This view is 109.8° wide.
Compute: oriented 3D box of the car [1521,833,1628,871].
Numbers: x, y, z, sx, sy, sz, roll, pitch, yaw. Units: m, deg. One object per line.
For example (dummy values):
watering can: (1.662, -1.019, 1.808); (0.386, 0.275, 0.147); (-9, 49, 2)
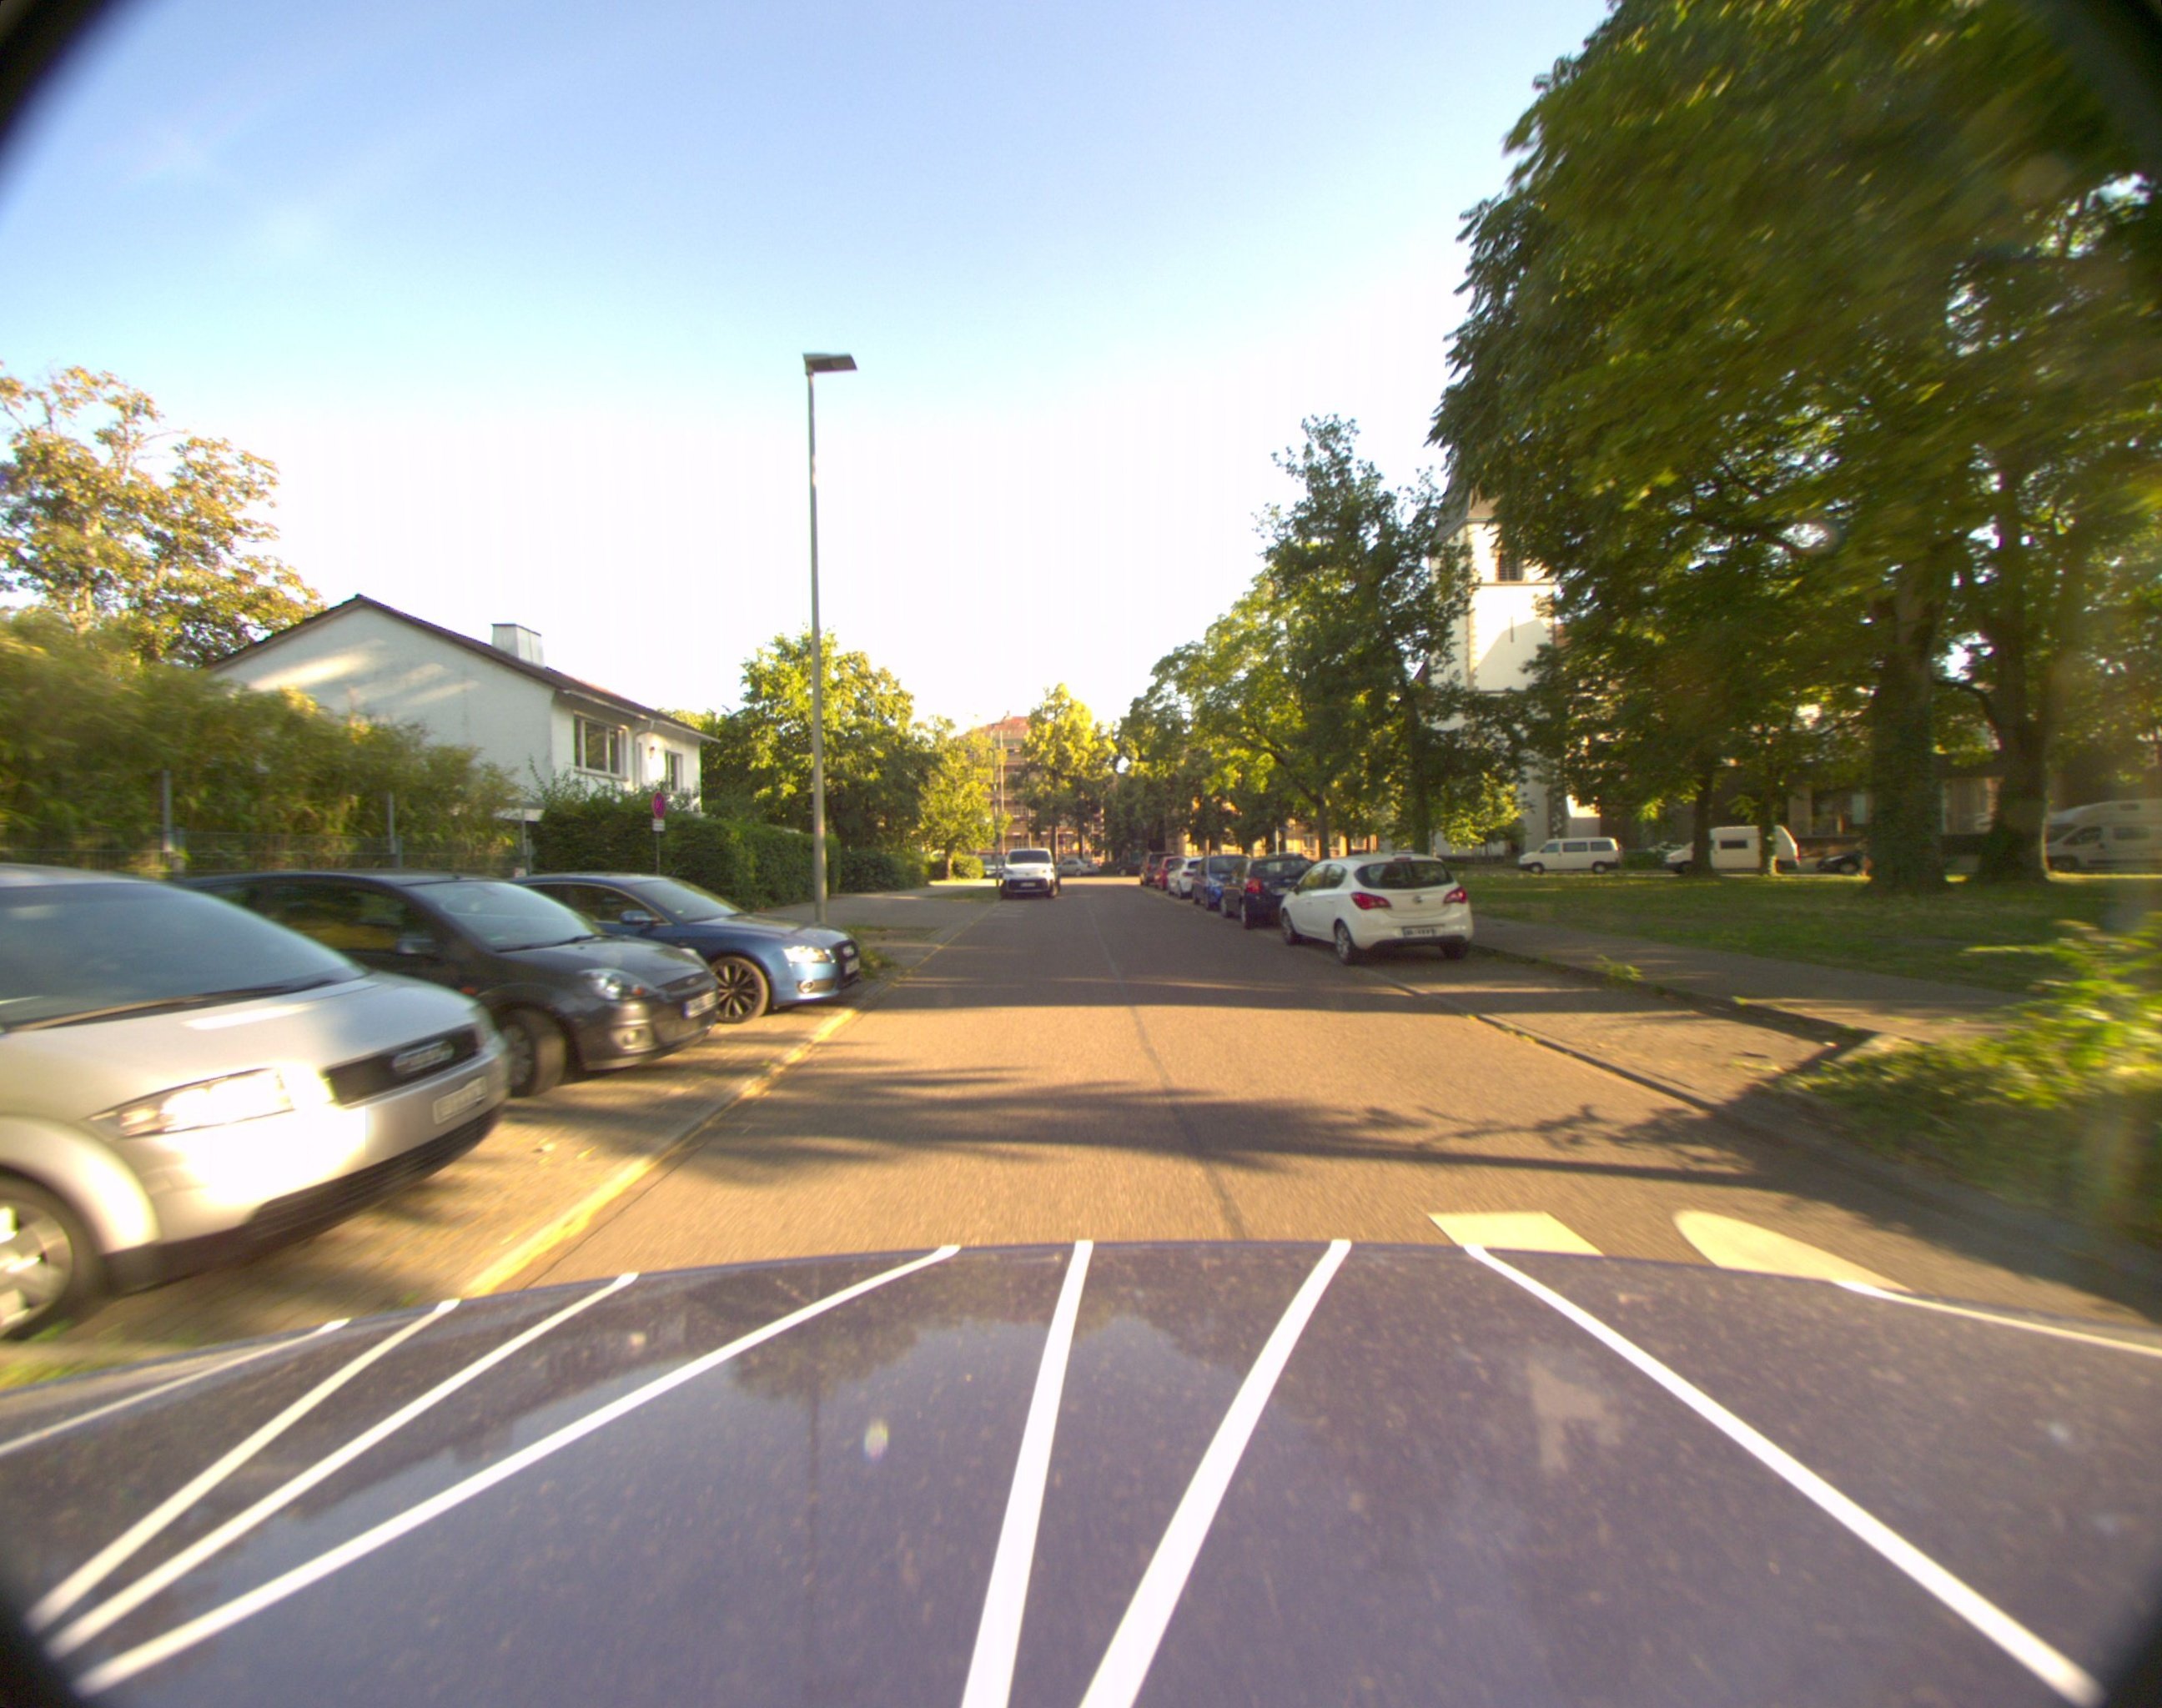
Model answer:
car: (27.034, -0.105, 41.712); (4.827, 1.935, 1.861); (-1, 0, 34)

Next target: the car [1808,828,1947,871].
car: (37.165, -0.185, 35.605); (4.133, 1.875, 1.860); (-1, 0, 29)

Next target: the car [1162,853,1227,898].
car: (4.023, 0.710, 27.431); (1.694, 1.398, 3.974); (-3, 0, 0)

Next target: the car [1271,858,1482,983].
car: (4.249, 0.859, 11.617); (1.596, 1.517, 3.864); (-1, 0, -2)

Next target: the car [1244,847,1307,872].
car: (13.071, 0.371, 51.048); (3.686, 1.570, 1.713); (-1, 0, 34)

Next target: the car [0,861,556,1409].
car: (-4.478, 0.863, 2.996); (3.503, 1.575, 1.761); (-1, 0, -4)

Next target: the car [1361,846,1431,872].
car: (19.387, 0.298, 46.804); (3.686, 1.492, 1.624); (-1, 0, 34)

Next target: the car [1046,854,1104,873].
car: (-0.511, 0.784, 60.840); (4.485, 1.407, 1.789); (-1, -2, 39)

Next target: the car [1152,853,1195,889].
car: (3.985, 0.708, 33.277); (1.391, 1.415, 3.426); (-3, 0, 0)

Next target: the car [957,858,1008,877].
car: (-7.864, 1.072, 60.478); (1.774, 1.459, 4.852); (-2, 0, -37)

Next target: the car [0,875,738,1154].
car: (-4.756, 0.982, 5.520); (3.692, 1.515, 1.791); (-1, 0, -5)

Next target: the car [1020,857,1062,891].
car: (-1.854, 0.886, 35.751); (1.770, 1.459, 4.864); (-1, 0, -2)

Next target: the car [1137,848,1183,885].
car: (3.915, 0.601, 38.369); (1.806, 1.666, 4.320); (-3, 0, 0)

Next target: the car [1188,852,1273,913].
car: (4.164, 0.739, 21.678); (1.642, 1.487, 3.705); (-3, 0, 0)

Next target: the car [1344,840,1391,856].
car: (30.185, -0.617, 80.065); (4.218, 1.646, 1.891); (-1, 0, -2)

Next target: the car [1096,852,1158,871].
car: (3.513, 0.621, 58.148); (4.482, 1.407, 1.835); (-1, -2, 36)

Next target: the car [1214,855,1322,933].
car: (4.010, 0.787, 16.882); (1.555, 1.486, 3.943); (-1, 0, 2)

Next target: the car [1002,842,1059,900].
car: (-1.900, 0.603, 29.675); (1.958, 2.002, 5.152); (-1, 0, -2)

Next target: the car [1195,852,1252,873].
car: (10.022, 0.617, 53.476); (3.596, 1.431, 1.621); (-1, -1, 36)

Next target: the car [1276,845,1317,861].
car: (24.951, -0.127, 87.991); (4.217, 1.646, 2.000); (-1, 0, -1)

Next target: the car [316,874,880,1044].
car: (-4.648, 0.982, 7.882); (4.600, 1.407, 1.922); (1, 1, 0)

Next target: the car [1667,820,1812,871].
car: (32.807, -0.385, 38.077); (5.172, 2.342, 1.860); (-1, 1, 29)

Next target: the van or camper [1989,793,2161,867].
van or camper: (43.132, -0.980, 31.745); (6.314, 2.891, 2.101); (-1, 1, 32)
